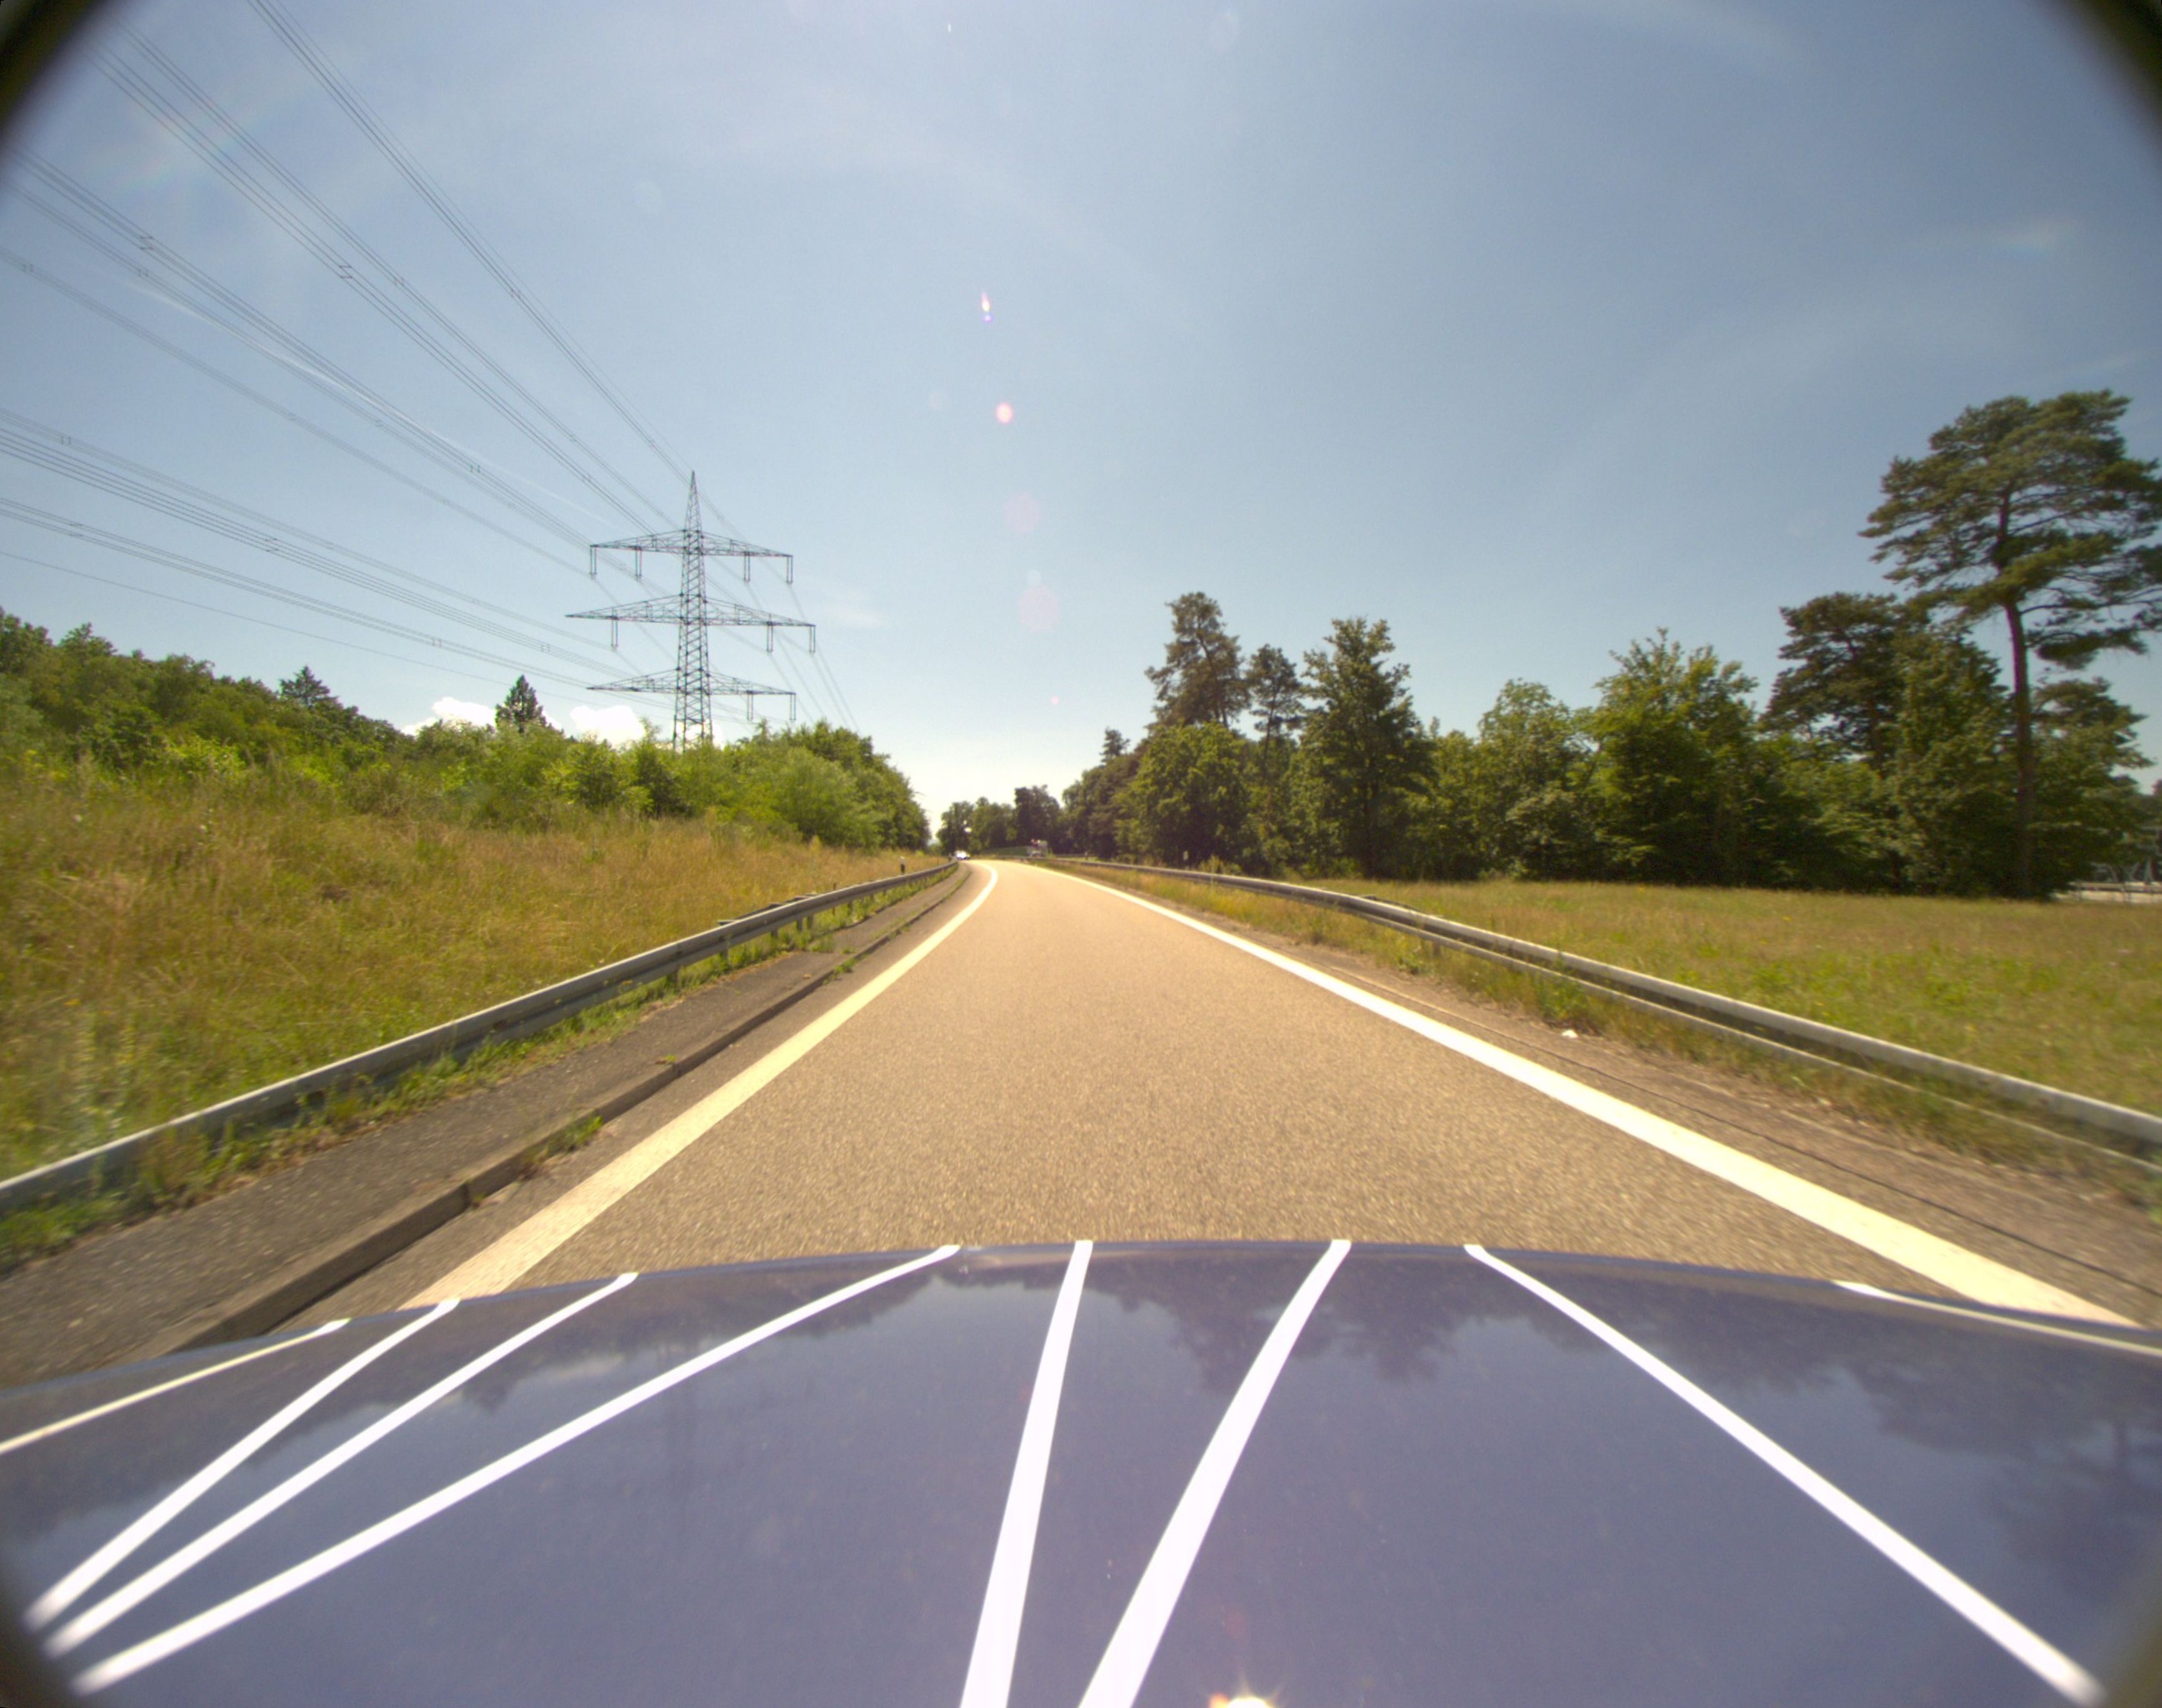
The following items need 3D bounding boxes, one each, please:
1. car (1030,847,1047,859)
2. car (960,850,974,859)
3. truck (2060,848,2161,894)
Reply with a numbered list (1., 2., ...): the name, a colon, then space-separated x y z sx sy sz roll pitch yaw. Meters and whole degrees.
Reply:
1. car: -6.077 -0.197 108.324 2.000 1.631 5.267 2 1 -8
2. car: -21.978 0.110 146.250 2.001 1.674 3.994 -2 0 -18
3. truck: 97.250 1.563 71.321 2.704 4.033 11.071 -1 -1 31
